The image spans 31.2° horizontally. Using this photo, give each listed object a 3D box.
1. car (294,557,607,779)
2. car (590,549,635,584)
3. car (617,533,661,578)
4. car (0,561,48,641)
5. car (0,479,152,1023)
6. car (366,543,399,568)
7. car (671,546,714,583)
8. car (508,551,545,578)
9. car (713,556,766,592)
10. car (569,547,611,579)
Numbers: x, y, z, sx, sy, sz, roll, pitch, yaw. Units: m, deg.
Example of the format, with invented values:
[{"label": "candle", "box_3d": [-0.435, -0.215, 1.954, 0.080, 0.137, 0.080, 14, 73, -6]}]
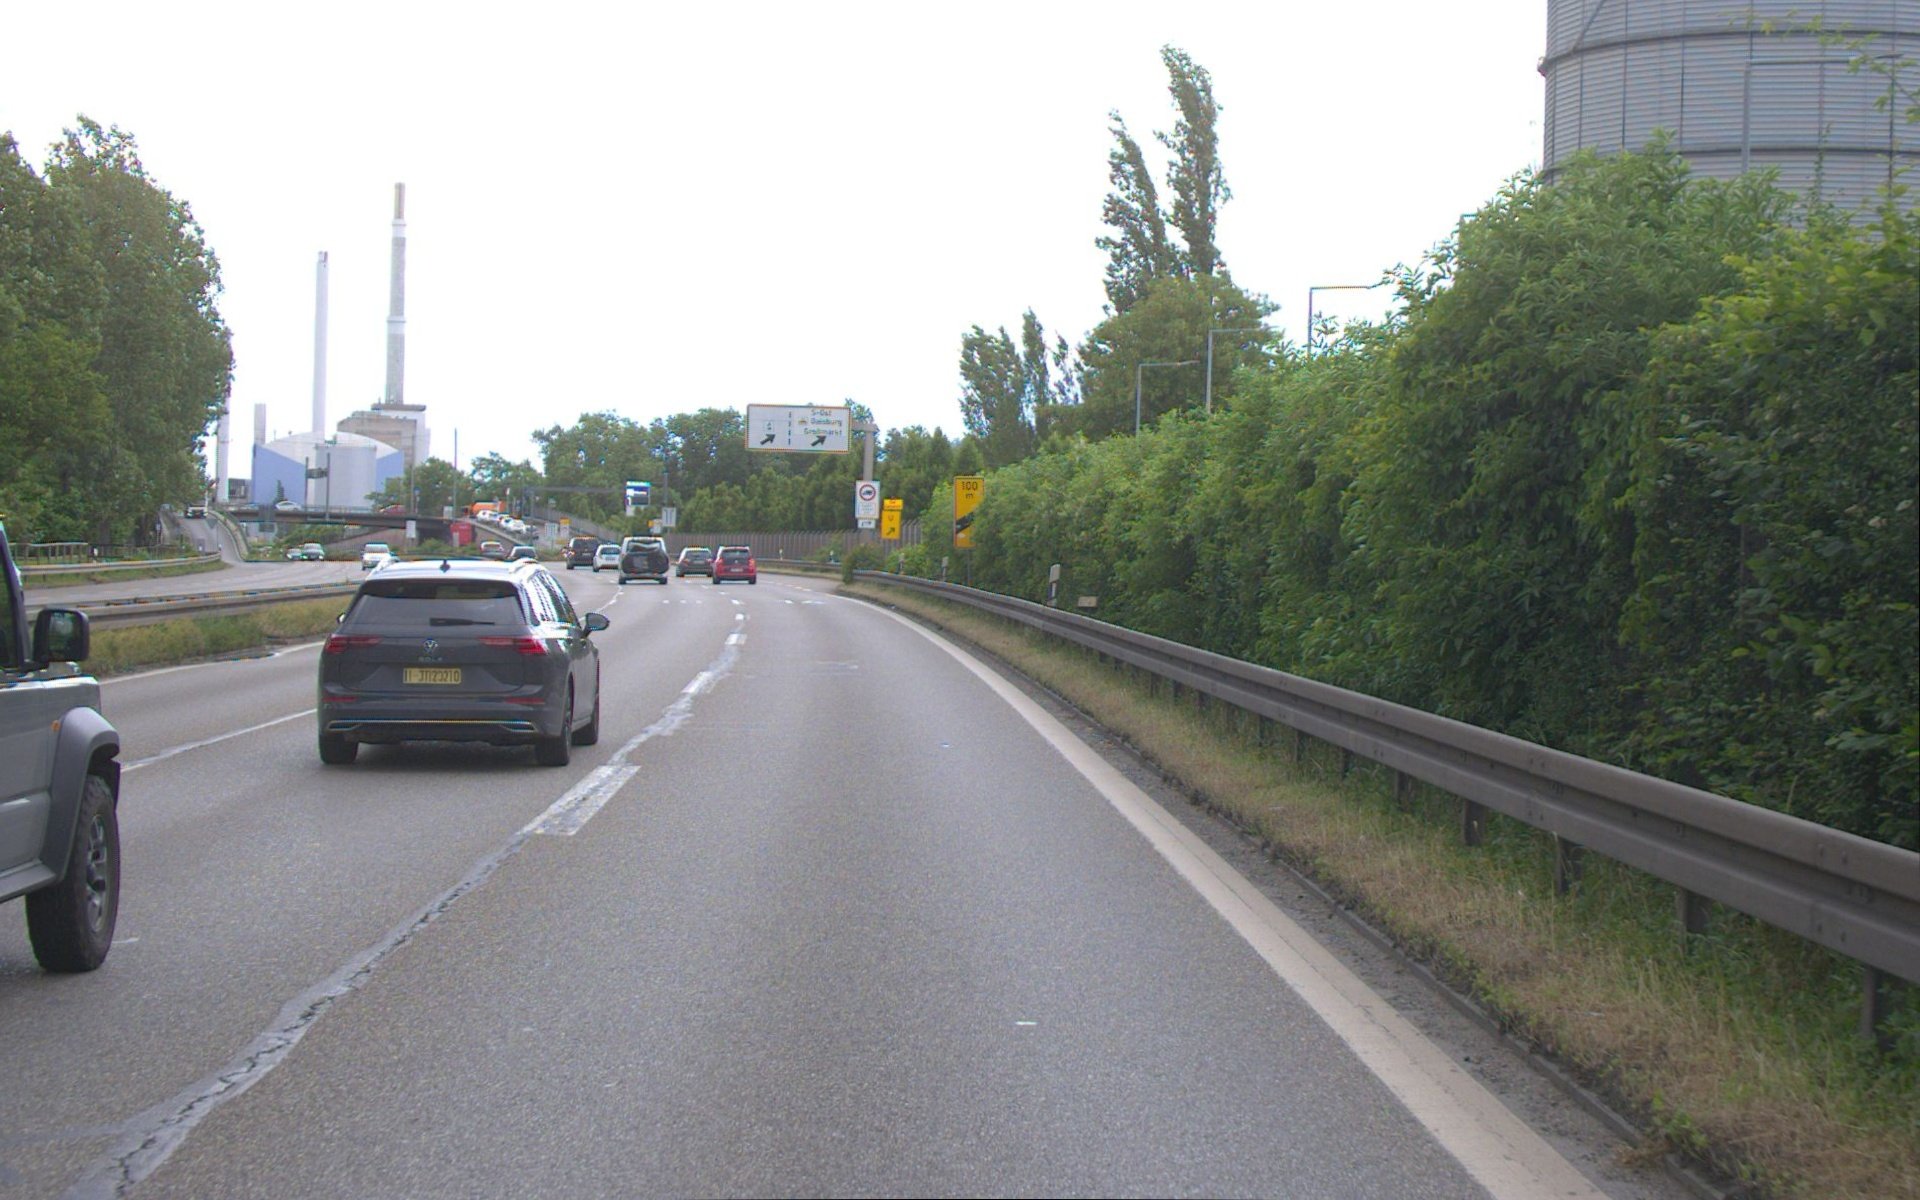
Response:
[{"label": "car", "box_3d": [-3.657, 0.425, 25.442, 1.844, 1.418, 4.901, 2, 1, -4]}, {"label": "car", "box_3d": [-19.800, -1.911, 195.848, 2.013, 1.927, 4.902, 0, 1, -12]}, {"label": "car", "box_3d": [-12.681, -1.772, 135.739, 1.697, 1.736, 4.001, 0, 1, -6]}, {"label": "car", "box_3d": [-18.104, -0.003, 63.384, 1.660, 1.419, 3.912, 1, 1, -2]}, {"label": "car", "box_3d": [-3.825, 0.455, 10.979, 1.697, 1.680, 4.001, 1, 1, -2]}, {"label": "car", "box_3d": [-33.344, -2.559, 198.650, 1.614, 1.381, 3.733, 1, 1, -6]}, {"label": "car", "box_3d": [-13.049, -1.734, 167.559, 1.697, 1.736, 4.394, 0, 1, -10]}, {"label": "car", "box_3d": [-27.962, -2.284, 221.424, 1.697, 1.736, 4.394, 0, 1, -16]}, {"label": "car", "box_3d": [-8.990, -1.057, 140.176, 1.974, 1.418, 4.901, 1, 1, -6]}, {"label": "car", "box_3d": [-23.159, -2.314, 215.172, 2.013, 1.927, 4.902, 0, 1, -14]}]
